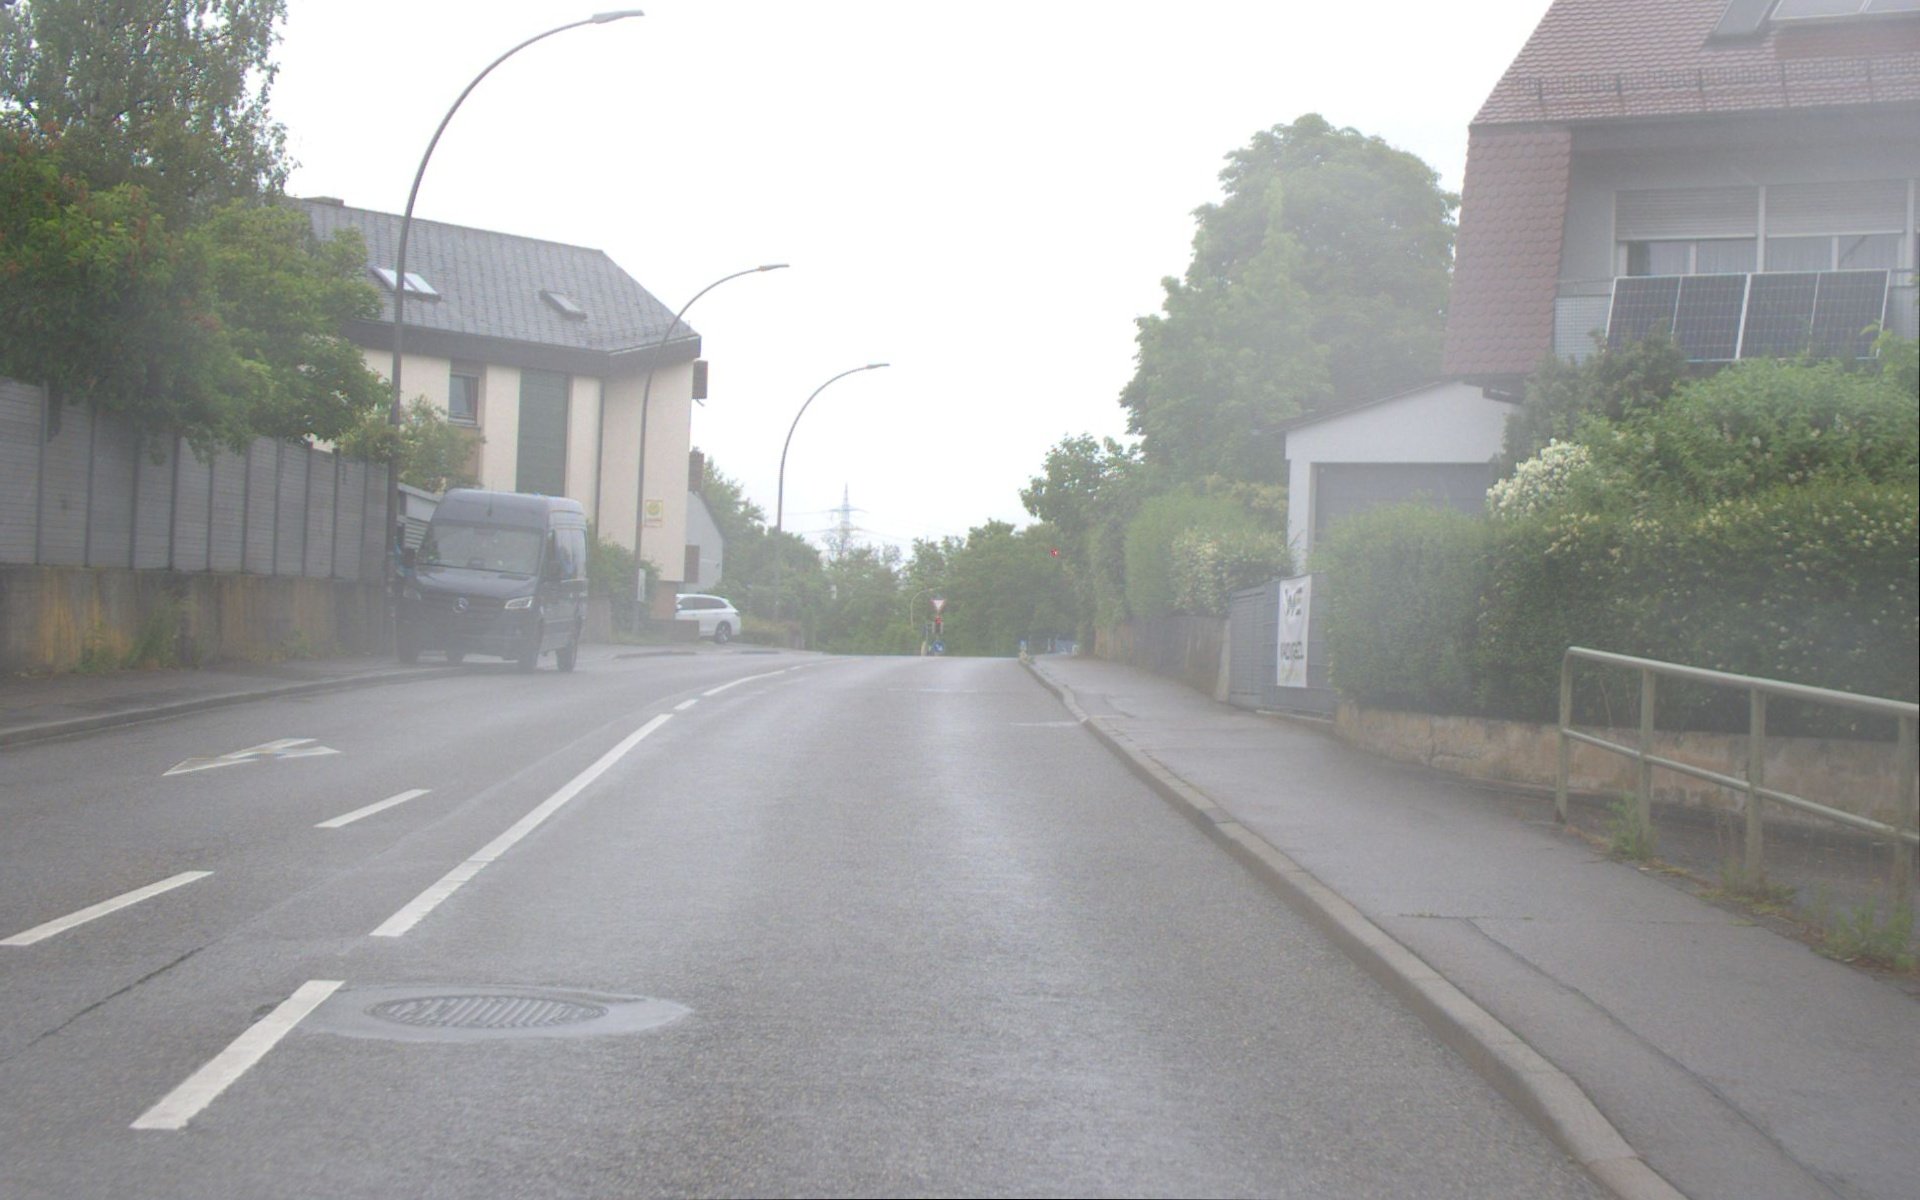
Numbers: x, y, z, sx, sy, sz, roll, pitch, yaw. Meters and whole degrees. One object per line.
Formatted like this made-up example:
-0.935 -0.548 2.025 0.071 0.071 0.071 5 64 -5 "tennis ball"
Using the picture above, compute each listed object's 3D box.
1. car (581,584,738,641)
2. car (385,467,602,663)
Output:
-9.002 0.384 103.397 1.905 1.472 4.871 3 0 36 "car"
-6.868 -0.487 51.286 2.094 2.640 5.918 3 0 2 "car"
